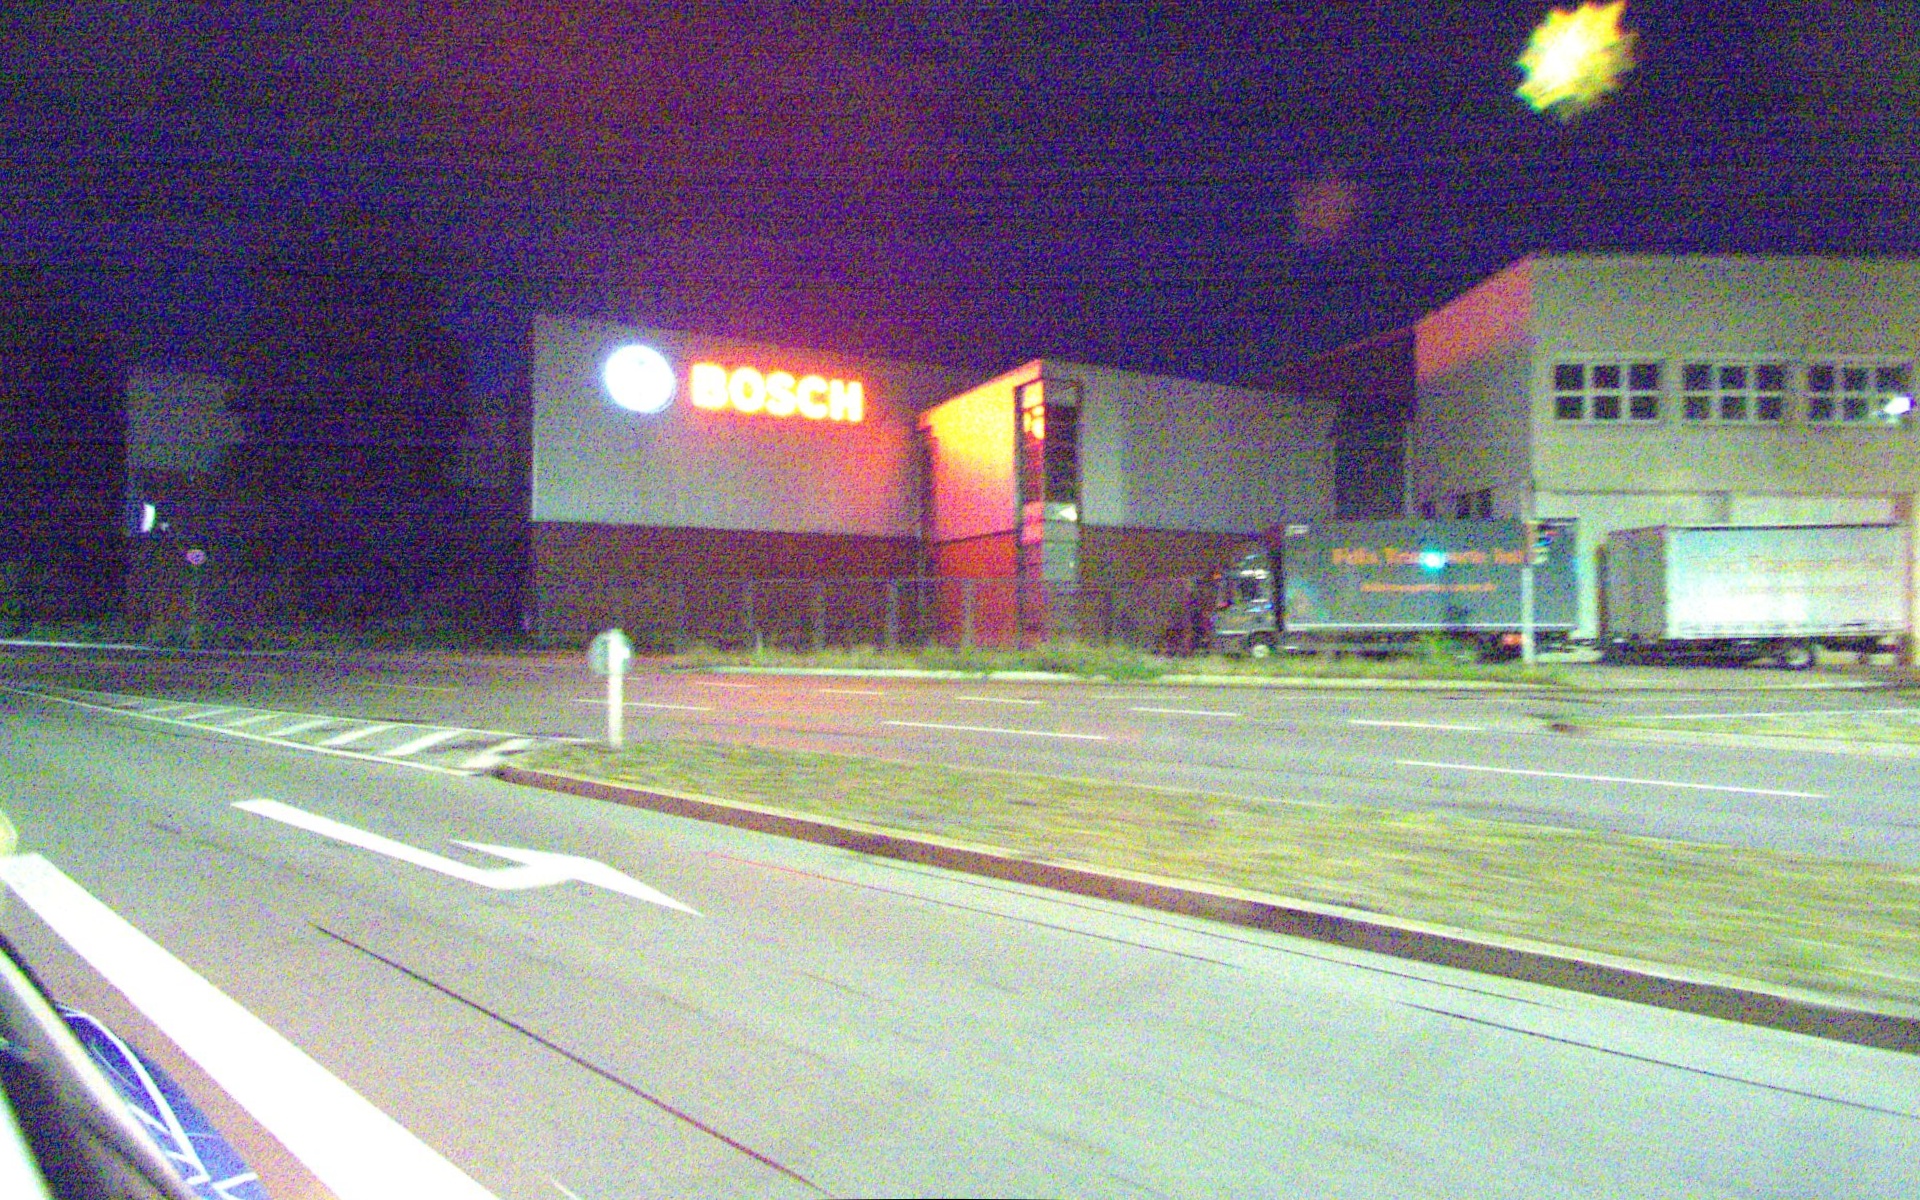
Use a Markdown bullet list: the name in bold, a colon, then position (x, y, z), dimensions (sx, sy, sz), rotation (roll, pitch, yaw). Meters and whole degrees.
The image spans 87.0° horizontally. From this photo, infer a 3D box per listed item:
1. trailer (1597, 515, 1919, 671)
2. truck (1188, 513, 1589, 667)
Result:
- **trailer**: position (20.861, -0.179, 26.594), dimensions (6.428, 3.819, 2.619), rotation (1, 0, 3)
- **truck**: position (11.172, -0.274, 27.284), dimensions (9.437, 3.825, 2.943), rotation (1, 0, 5)
